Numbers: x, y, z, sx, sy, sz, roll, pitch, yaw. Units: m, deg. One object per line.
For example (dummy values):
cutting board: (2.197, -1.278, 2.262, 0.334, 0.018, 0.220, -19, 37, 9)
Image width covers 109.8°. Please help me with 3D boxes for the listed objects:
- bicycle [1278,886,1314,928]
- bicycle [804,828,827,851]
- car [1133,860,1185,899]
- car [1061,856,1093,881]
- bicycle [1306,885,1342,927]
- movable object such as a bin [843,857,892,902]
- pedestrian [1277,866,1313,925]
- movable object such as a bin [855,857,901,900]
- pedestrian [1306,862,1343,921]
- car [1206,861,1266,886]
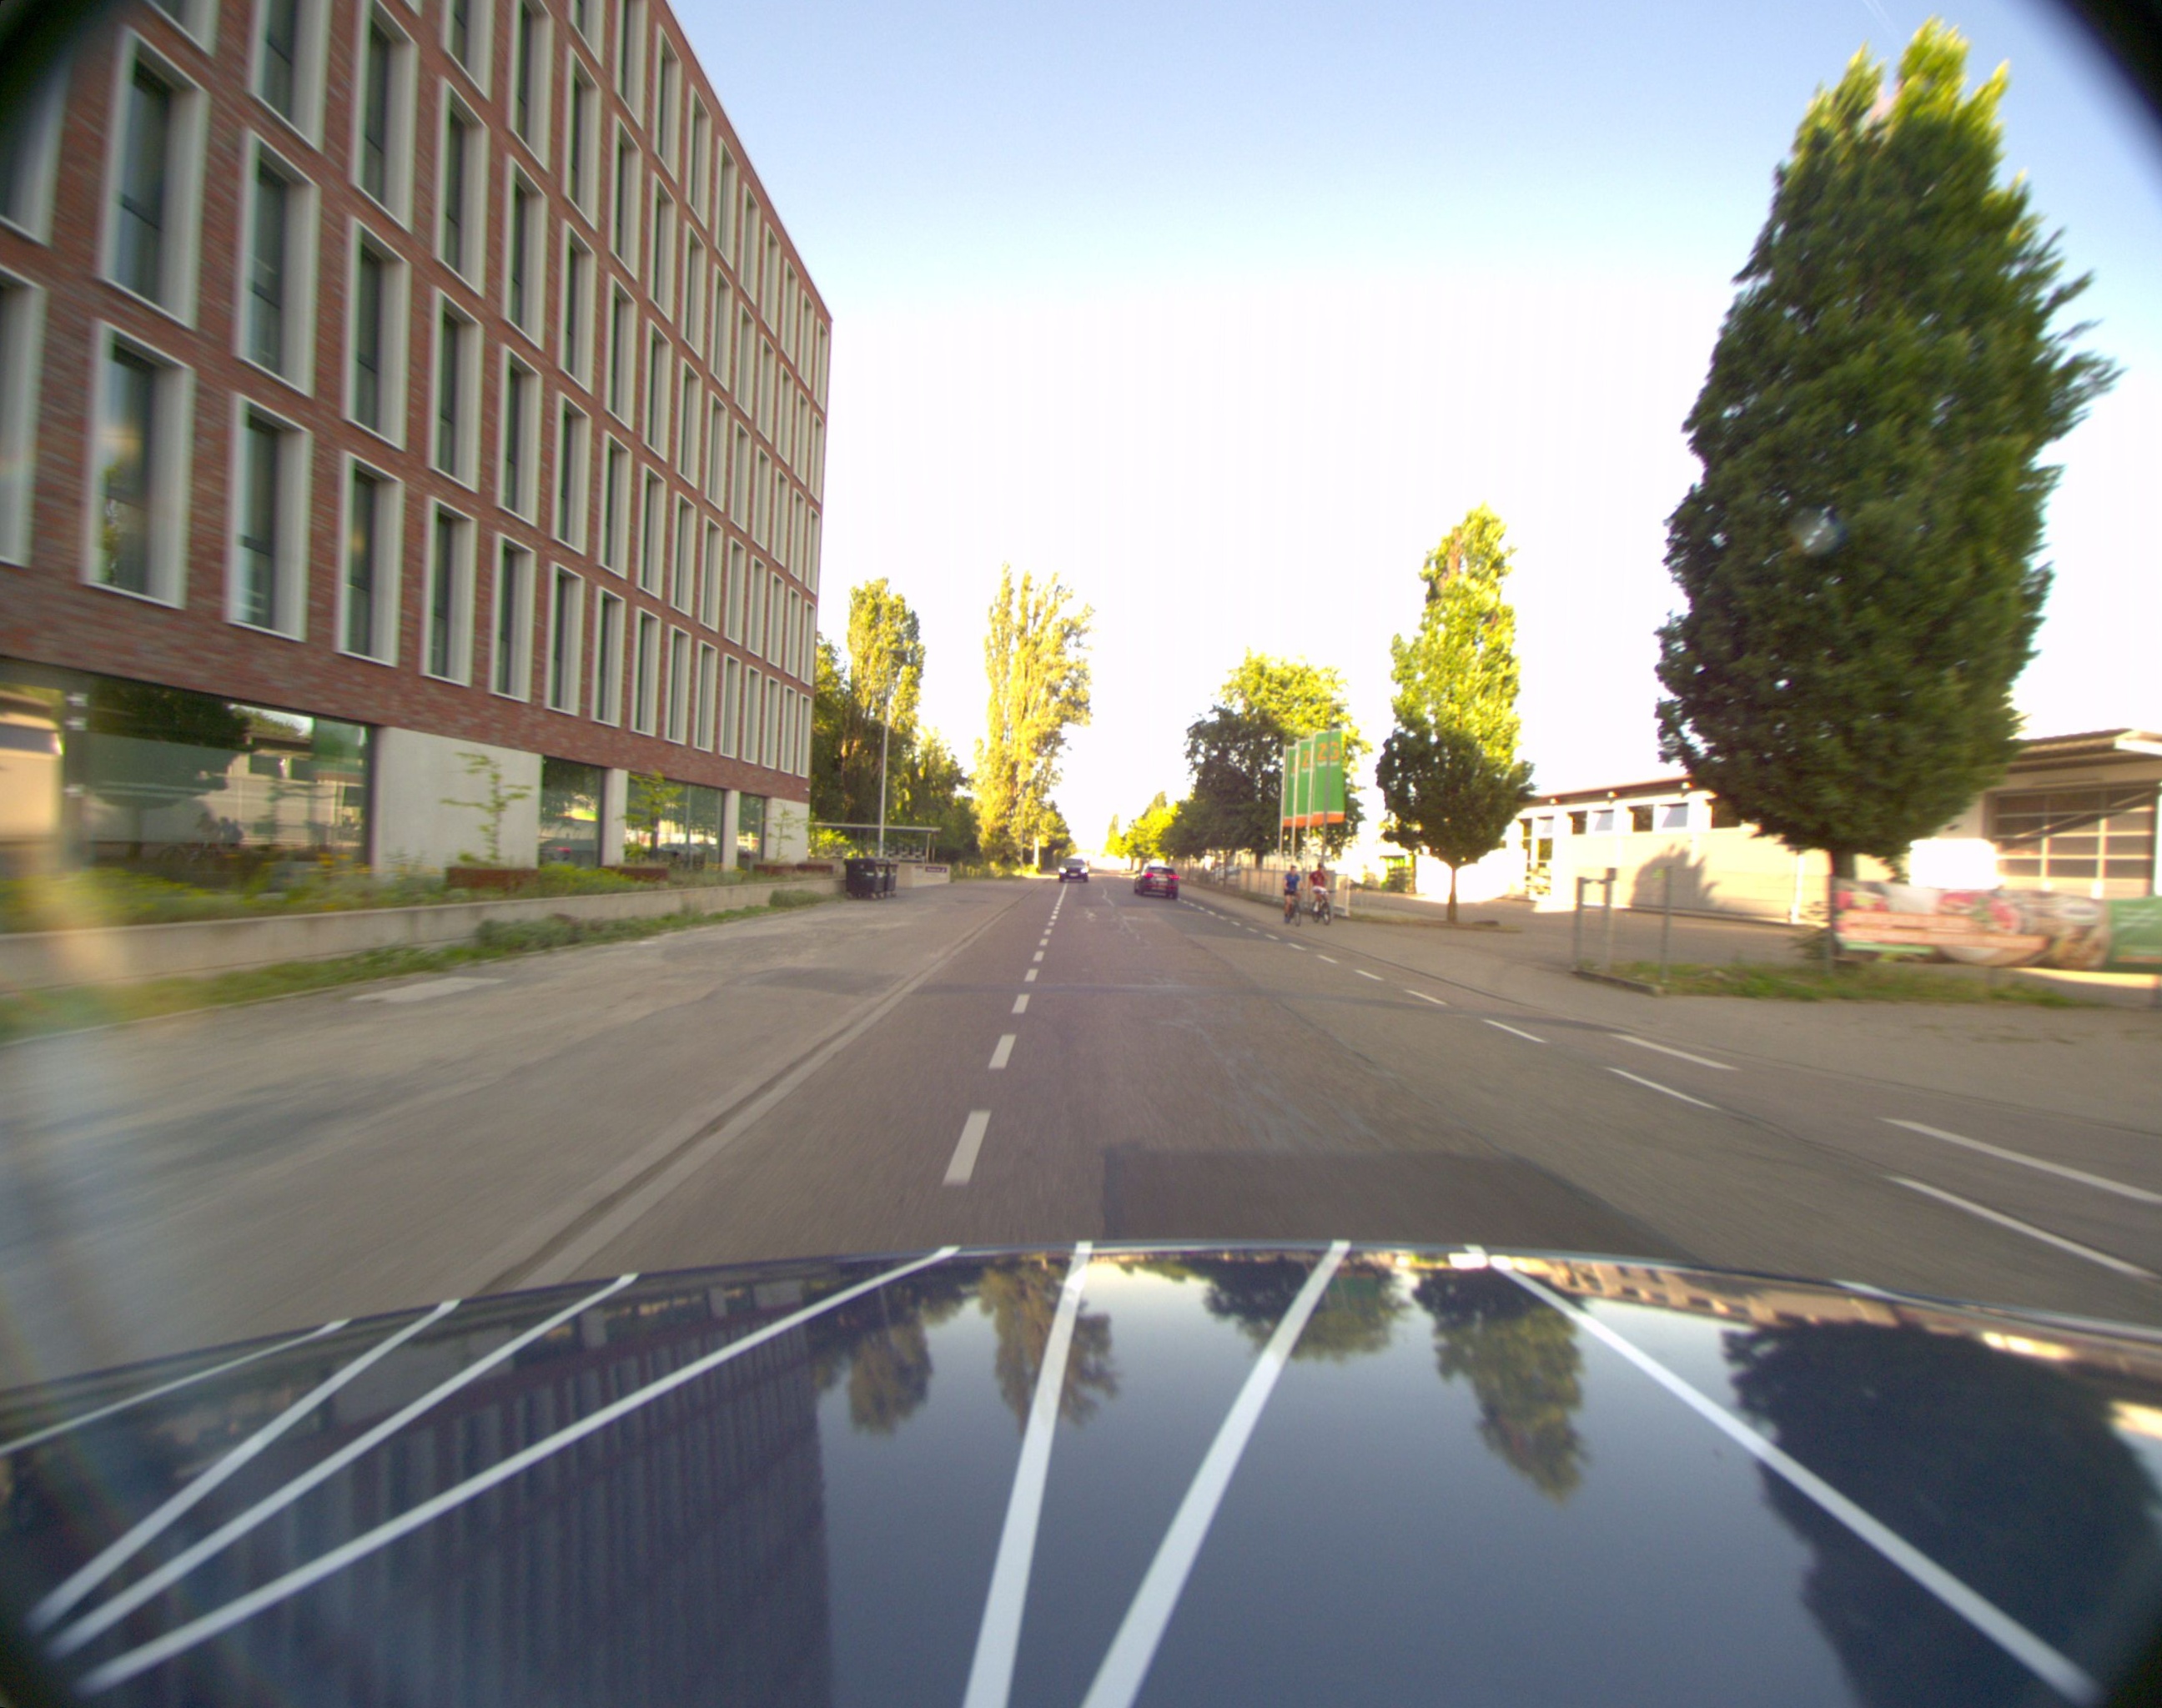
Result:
bicycle: (6.537, 1.593, 23.182, 0.447, 1.142, 2.201, 1, 0, 0)
bicycle: (-15.766, -0.865, 45.104, 0.632, 1.313, 1.989, 1, 1, 0)
car: (3.510, 1.127, 34.890, 1.745, 1.517, 4.111, 6, 0, -1)
car: (-0.233, 0.936, 52.148, 1.998, 1.608, 4.000, -1, 0, 2)
bicycle: (7.360, 1.549, 23.116, 0.471, 1.142, 1.869, 1, 0, 0)
movable object such as a bin: (-6.662, 0.788, 23.764, 1.131, 1.328, 1.345, 2, 0, -1)
pedestrian: (6.494, 1.246, 23.052, 0.722, 1.710, 1.057, 2, 0, 0)
movable object such as a bin: (-6.737, 0.803, 25.336, 1.131, 1.364, 1.345, 2, 0, -1)
pedestrian: (7.383, 1.124, 23.071, 0.722, 1.710, 1.057, 2, 0, 0)
car: (11.333, 1.409, 55.800, 3.899, 1.502, 1.786, 5, 0, 0)
